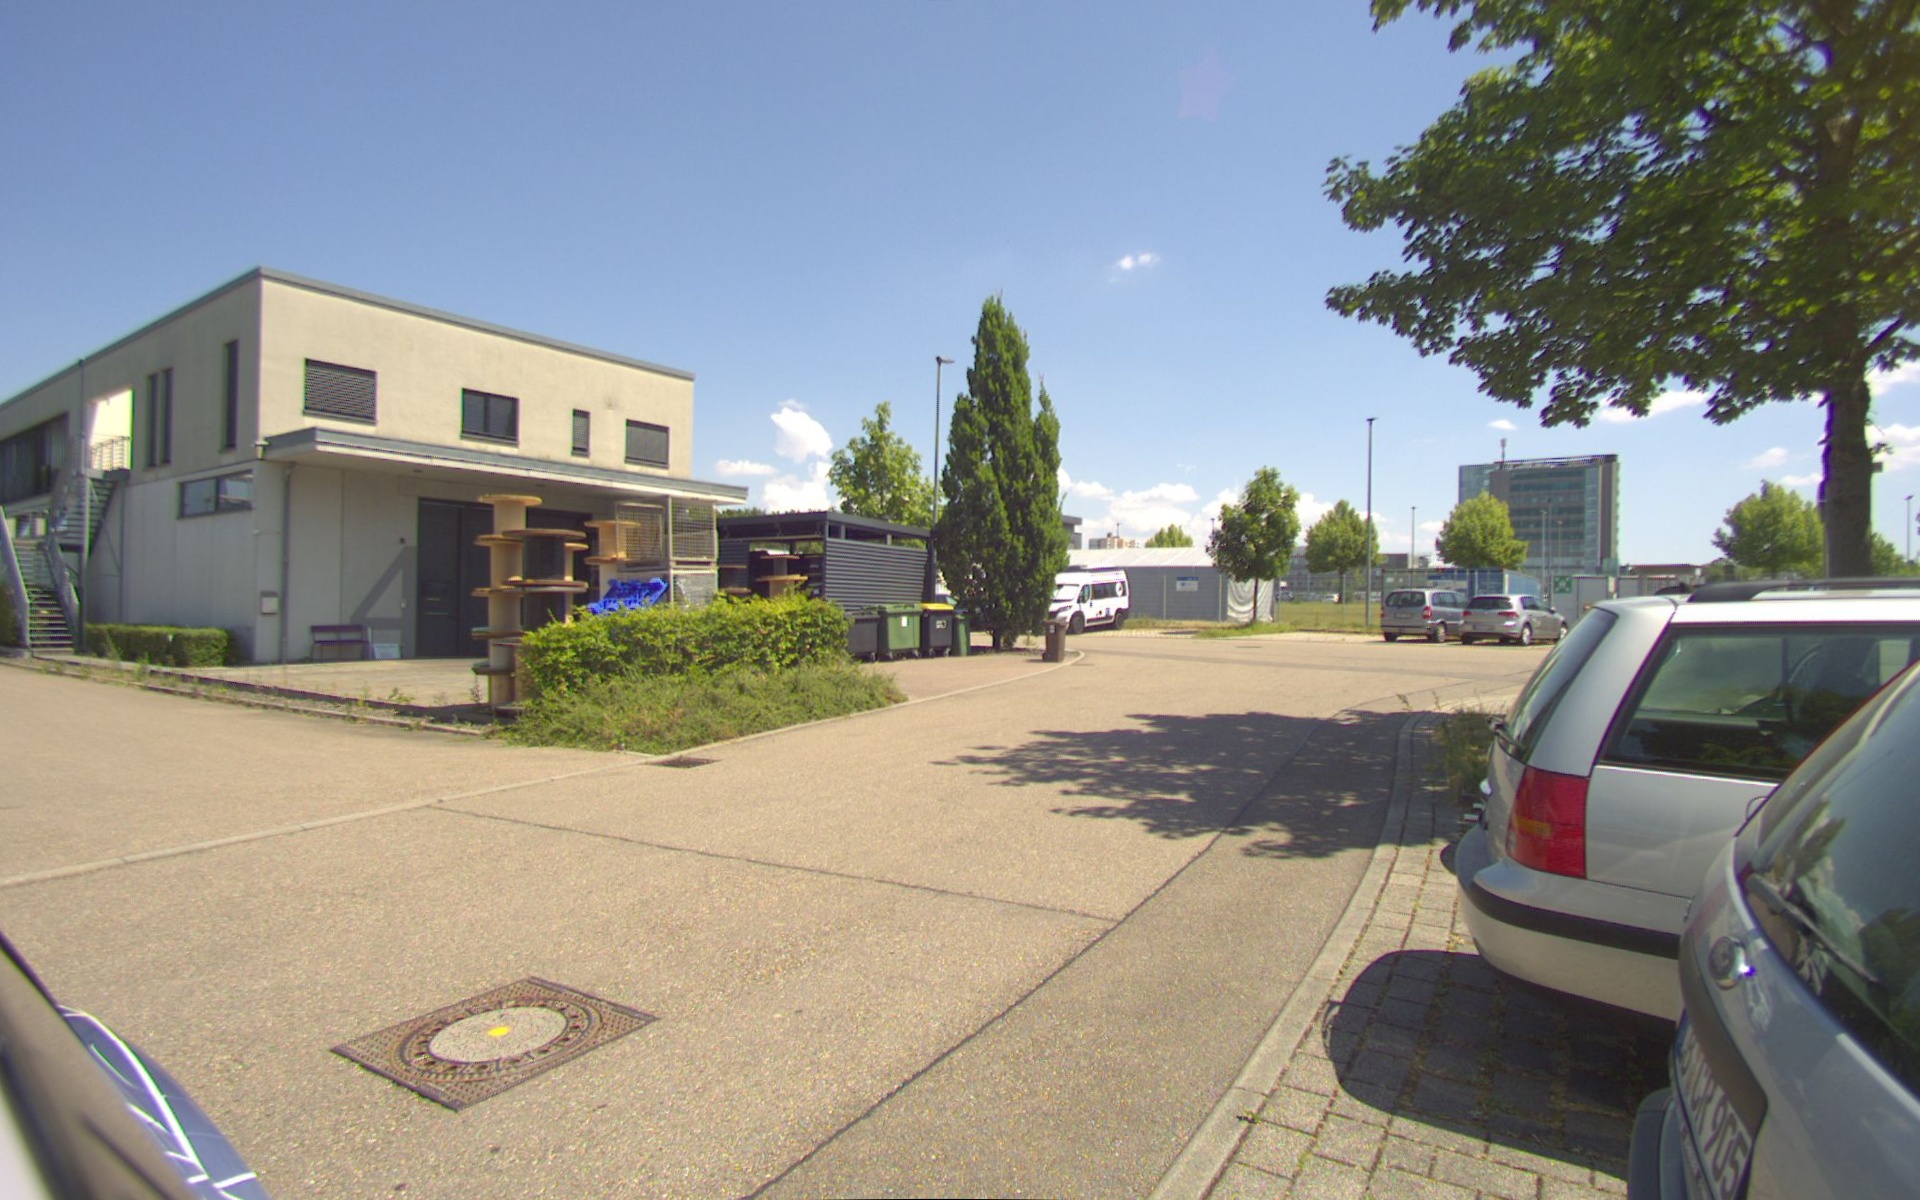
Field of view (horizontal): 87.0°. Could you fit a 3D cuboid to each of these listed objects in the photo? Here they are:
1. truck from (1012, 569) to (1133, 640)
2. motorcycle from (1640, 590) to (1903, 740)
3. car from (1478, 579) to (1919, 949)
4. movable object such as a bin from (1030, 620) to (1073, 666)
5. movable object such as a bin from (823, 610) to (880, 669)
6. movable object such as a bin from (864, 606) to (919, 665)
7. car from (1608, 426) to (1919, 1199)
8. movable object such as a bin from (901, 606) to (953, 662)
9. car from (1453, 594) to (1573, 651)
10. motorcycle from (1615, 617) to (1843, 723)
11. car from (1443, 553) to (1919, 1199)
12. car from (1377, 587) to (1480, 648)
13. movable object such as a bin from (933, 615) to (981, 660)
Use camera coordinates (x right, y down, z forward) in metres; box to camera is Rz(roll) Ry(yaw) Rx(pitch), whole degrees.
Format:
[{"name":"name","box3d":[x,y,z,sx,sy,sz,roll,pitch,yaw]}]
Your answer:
[{"name":"truck","box3d":[4.724,0.172,41.603,2.415,2.692,5.627,-1,0,37]},{"name":"motorcycle","box3d":[8.046,0.619,10.147,1.981,1.400,0.479,-1,0,29]},{"name":"car","box3d":[4.519,0.644,4.528,3.876,1.459,1.636,0,0,30]},{"name":"movable object such as a bin","box3d":[2.022,0.944,22.384,0.760,0.977,0.582,0,0,42]},{"name":"movable object such as a bin","box3d":[-2.477,0.884,23.131,0.760,1.280,1.058,0,0,42]},{"name":"movable object such as a bin","box3d":[-1.614,0.819,23.955,0.760,1.346,1.058,0,0,42]},{"name":"car","box3d":[2.701,0.640,0.157,4.334,1.490,1.706,0,0,32]},{"name":"movable object such as a bin","box3d":[-0.818,0.822,25.029,0.760,1.346,1.058,0,0,42]},{"name":"car","box3d":[15.978,0.610,29.180,3.936,1.533,1.656,0,0,-39]},{"name":"motorcycle","box3d":[8.617,0.757,11.439,1.981,1.117,0.479,-1,0,29]},{"name":"car","box3d":[3.339,0.636,2.399,3.876,1.490,1.636,0,0,30]},{"name":"car","box3d":[14.486,0.509,31.200,1.772,1.751,3.944,0,0,42]},{"name":"movable object such as a bin","box3d":[-0.074,0.945,25.828,0.760,1.092,0.974,0,0,42]}]
